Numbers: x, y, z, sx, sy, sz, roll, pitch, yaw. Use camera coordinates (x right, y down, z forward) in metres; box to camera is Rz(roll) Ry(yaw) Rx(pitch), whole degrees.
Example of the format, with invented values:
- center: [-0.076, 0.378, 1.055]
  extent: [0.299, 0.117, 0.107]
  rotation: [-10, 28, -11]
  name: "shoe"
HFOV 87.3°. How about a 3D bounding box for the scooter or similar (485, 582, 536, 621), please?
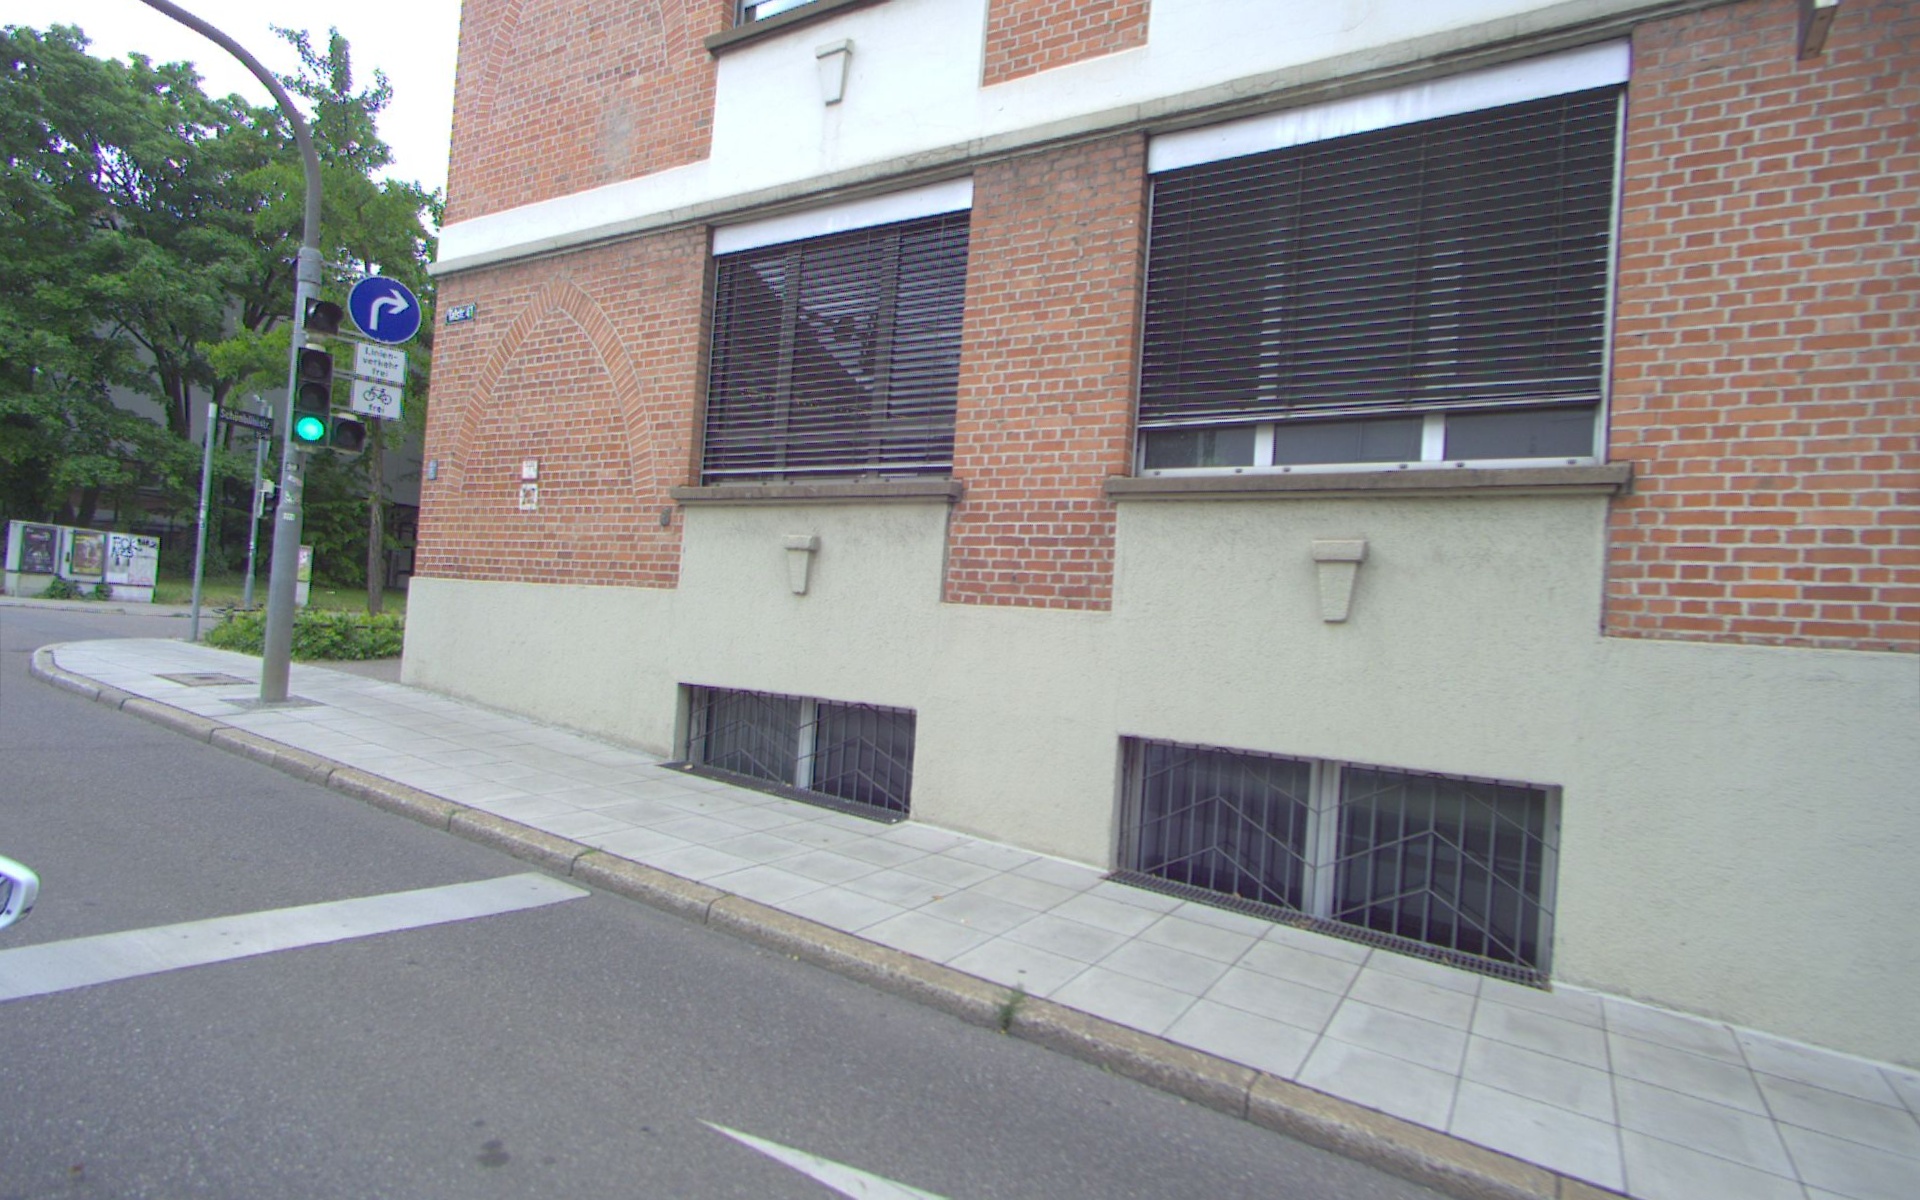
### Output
- center: [-15.730, 0.063, 35.241]
  extent: [0.521, 1.191, 1.770]
  rotation: [7, -2, 15]
  name: "scooter or similar"
